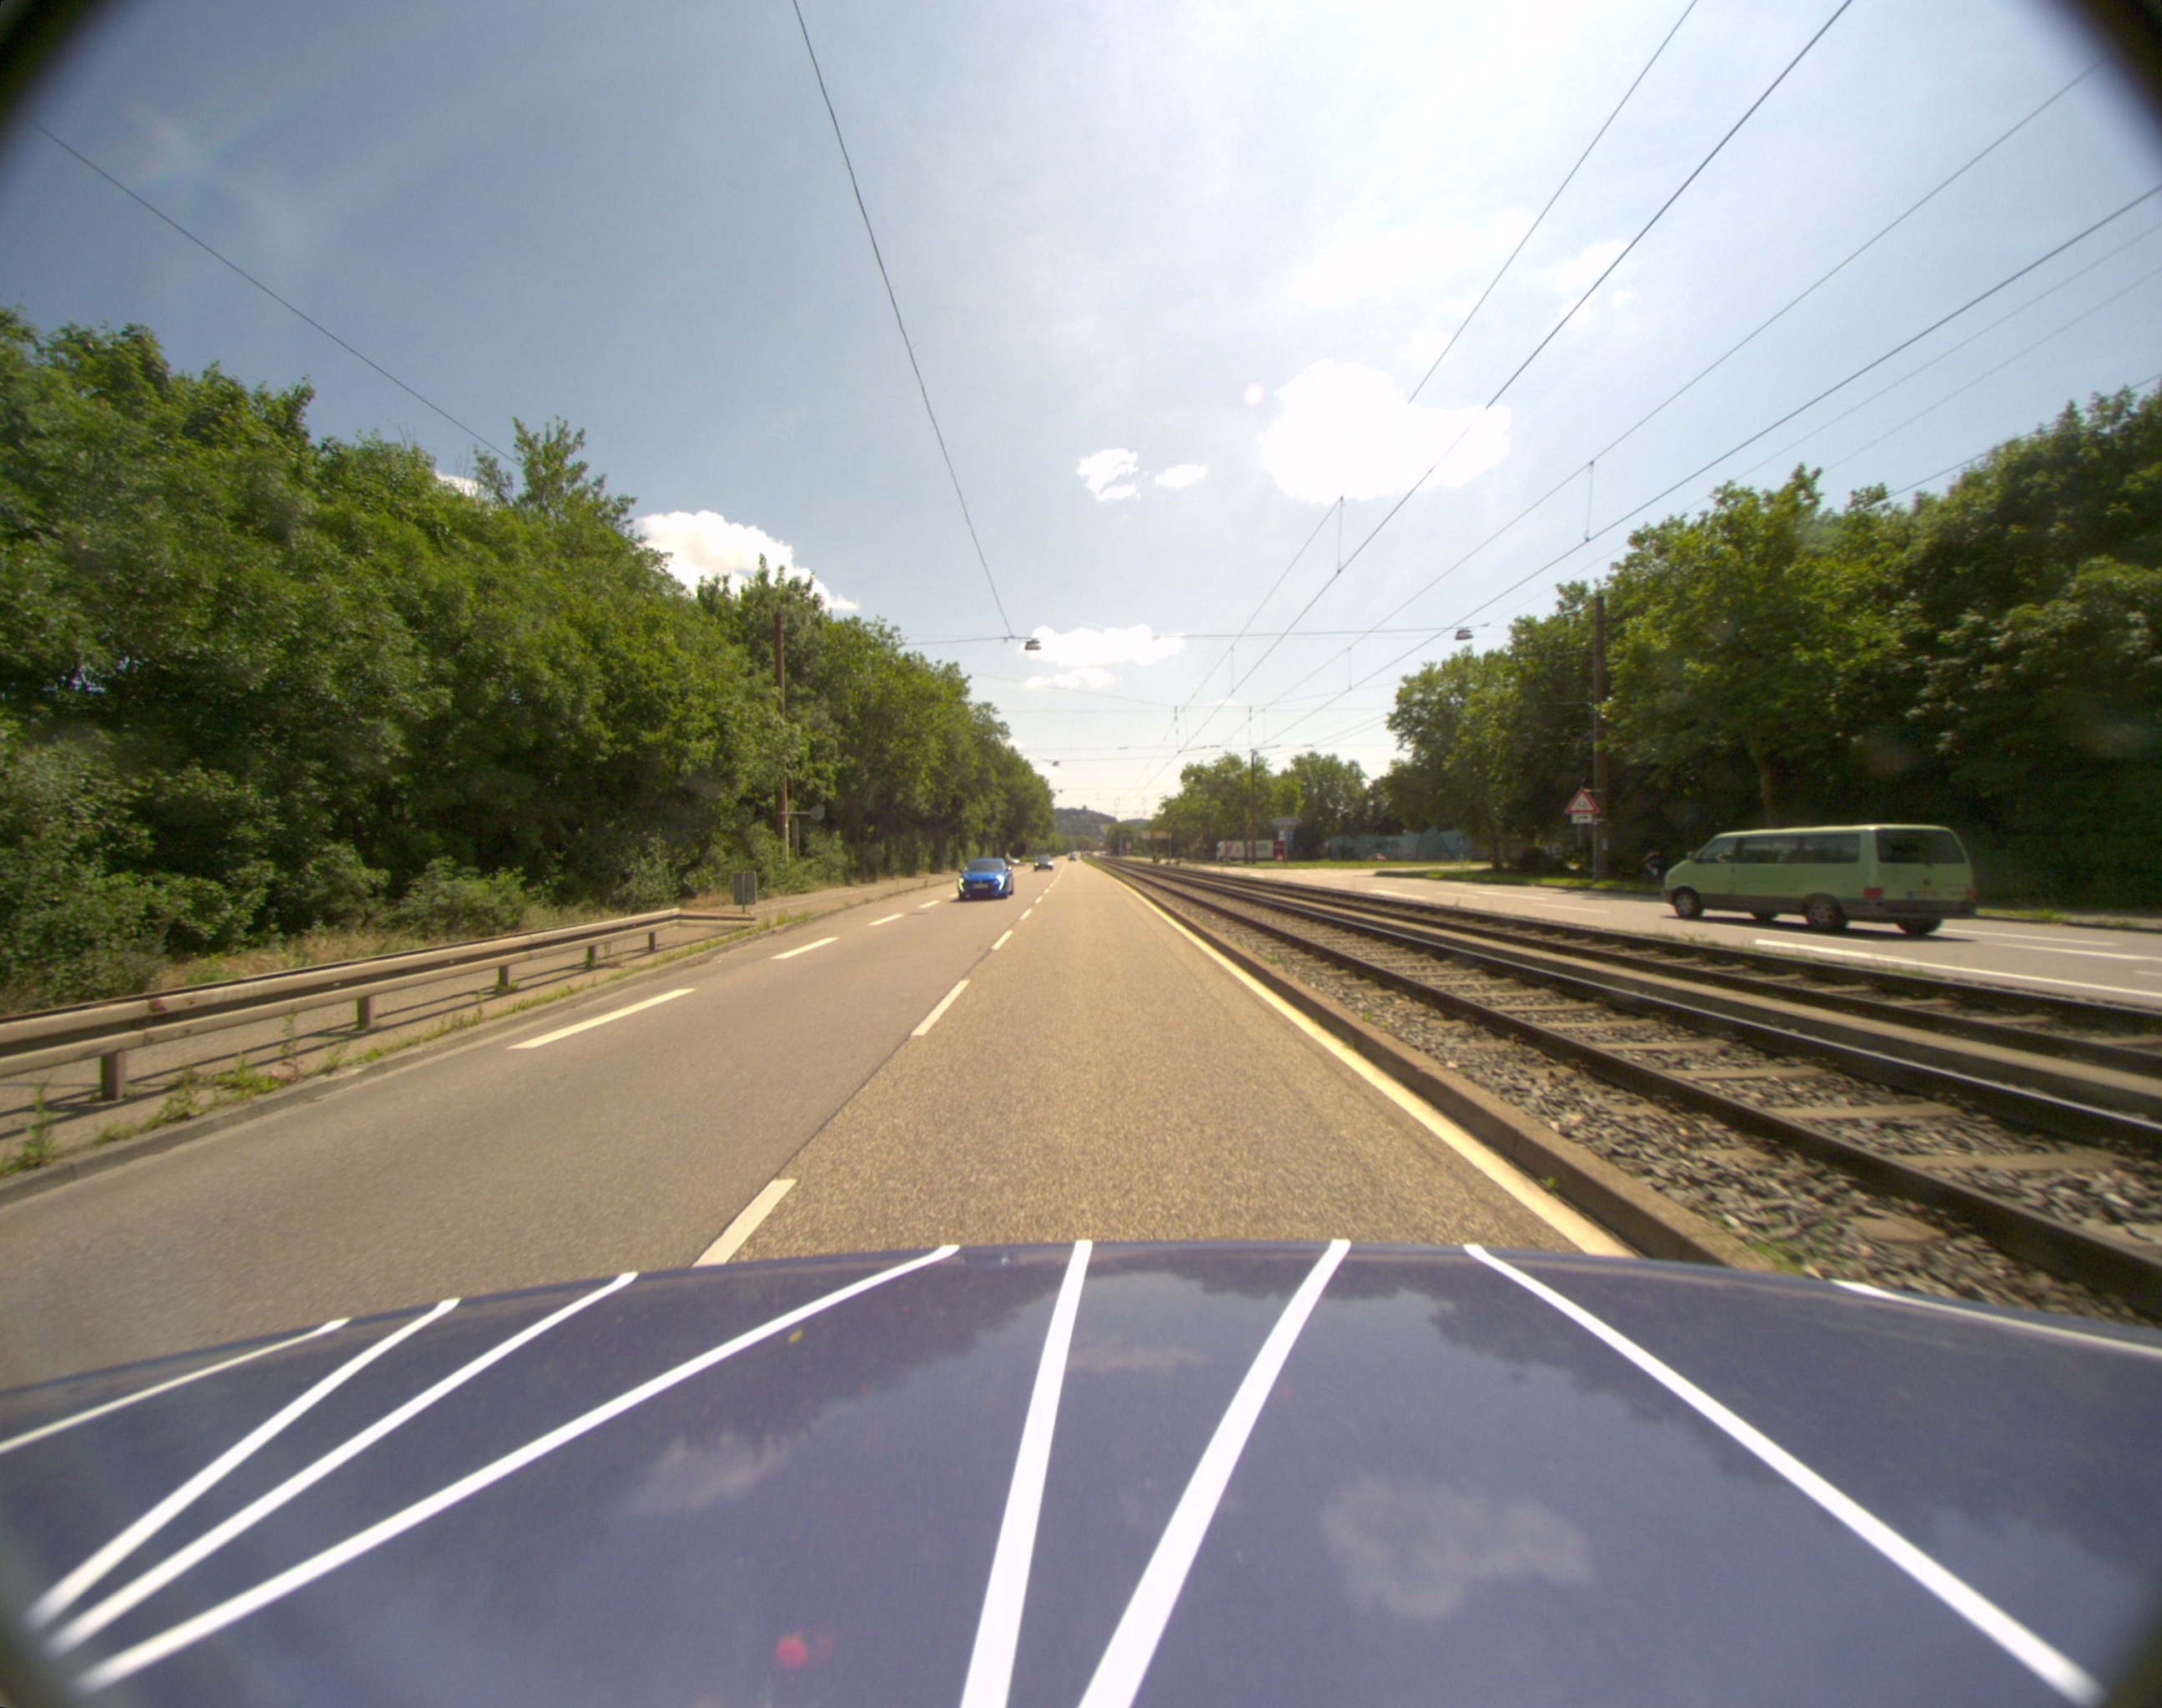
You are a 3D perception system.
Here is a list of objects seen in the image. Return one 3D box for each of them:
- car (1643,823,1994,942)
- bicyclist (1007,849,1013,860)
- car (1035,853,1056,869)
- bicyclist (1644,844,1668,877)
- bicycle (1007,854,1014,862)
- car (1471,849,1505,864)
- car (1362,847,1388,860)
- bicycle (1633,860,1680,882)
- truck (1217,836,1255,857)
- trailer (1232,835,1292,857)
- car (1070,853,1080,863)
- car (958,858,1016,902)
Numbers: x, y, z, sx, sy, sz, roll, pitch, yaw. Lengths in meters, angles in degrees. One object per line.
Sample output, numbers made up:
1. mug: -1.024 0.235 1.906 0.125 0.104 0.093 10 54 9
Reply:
1. car: 13.781 0.416 14.815 1.816 1.914 5.178 0 1 1
2. bicyclist: -9.941 0.078 106.612 0.704 1.431 0.641 -1 1 0
3. car: -3.396 0.645 73.177 1.770 1.359 3.743 -2 1 0
4. bicyclist: 24.605 0.271 32.518 0.570 1.360 0.631 -3 2 5
5. bicycle: -9.937 0.511 106.633 0.710 1.131 2.538 -1 0 1
6. car: 49.412 0.254 92.234 1.567 1.781 3.392 -1 1 -26
7. car: 41.806 -0.066 108.107 1.567 1.781 3.392 -1 1 -26
8. bicycle: 24.628 0.706 32.553 0.587 0.814 2.069 -3 2 6
9. truck: 28.190 -1.316 138.573 3.423 3.680 6.746 -1 1 -24
10. trailer: 31.235 -1.258 131.969 3.393 3.633 12.083 -1 0 -25
11. car: -1.278 0.833 164.939 1.999 2.002 3.999 -2 1 -1
12. car: -3.392 0.906 28.029 1.660 1.397 3.742 -2 1 -1
